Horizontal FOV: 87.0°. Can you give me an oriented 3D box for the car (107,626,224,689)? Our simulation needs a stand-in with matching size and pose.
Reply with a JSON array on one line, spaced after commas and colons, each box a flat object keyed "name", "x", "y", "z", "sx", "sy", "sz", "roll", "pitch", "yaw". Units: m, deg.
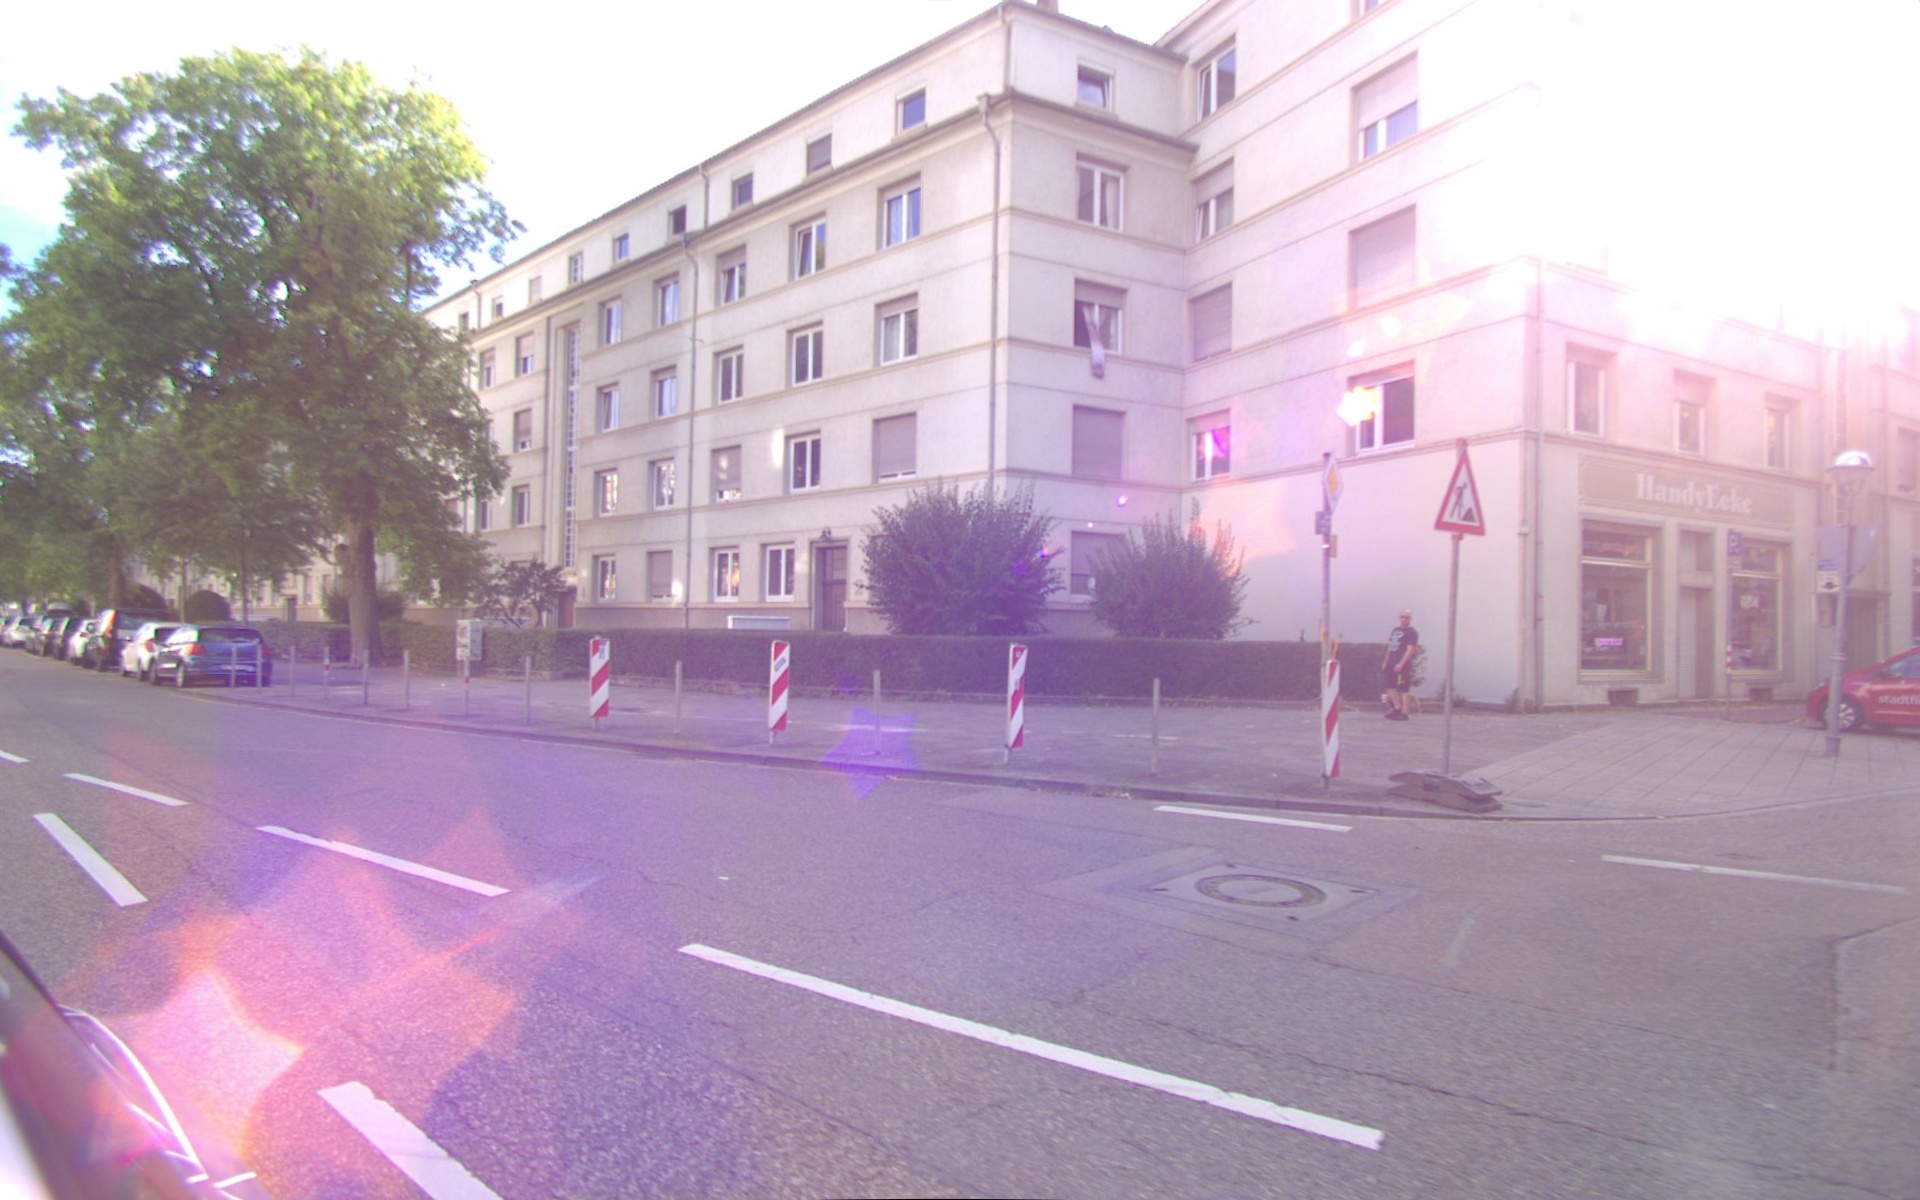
[{"name": "car", "x": -20.731, "y": 1.471, "z": 26.367, "sx": 3.803, "sy": 1.505, "sz": 1.779, "roll": -2, "pitch": -5, "yaw": 43}]

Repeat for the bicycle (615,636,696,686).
[{"name": "bicycle", "x": -7.246, "y": 1.436, "z": 24.158, "sx": 0.597, "sy": 1.140, "sz": 1.849, "roll": -1, "pitch": -2, "yaw": 39}]

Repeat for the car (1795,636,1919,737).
[{"name": "car", "x": 15.133, "y": 1.296, "z": 15.150, "sx": 1.568, "sy": 1.489, "sz": 3.718, "roll": 1, "pitch": -2, "yaw": -27}]

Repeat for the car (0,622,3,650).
[{"name": "car", "x": -64.465, "y": 2.282, "z": 66.400, "sx": 4.968, "sy": 1.807, "sz": 1.857, "roll": -1, "pitch": -5, "yaw": 42}]

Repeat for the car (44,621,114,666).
[{"name": "car", "x": -31.801, "y": 1.567, "z": 36.503, "sx": 3.017, "sy": 1.532, "sz": 1.535, "roll": -2, "pitch": -5, "yaw": 44}]

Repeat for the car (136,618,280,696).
[{"name": "car", "x": -17.255, "y": 1.281, "z": 23.176, "sx": 3.801, "sy": 1.632, "sz": 1.780, "roll": -1, "pitch": -5, "yaw": 41}]

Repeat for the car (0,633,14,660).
[{"name": "car", "x": -56.651, "y": 2.673, "z": 59.215, "sx": 1.666, "sy": 1.492, "sz": 4.454, "roll": 7, "pitch": -6, "yaw": -44}]

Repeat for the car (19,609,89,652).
[{"name": "car", "x": -38.618, "y": 1.297, "z": 43.110, "sx": 4.483, "sy": 1.681, "sz": 1.779, "roll": -2, "pitch": -5, "yaw": 44}]

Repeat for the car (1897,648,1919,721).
[{"name": "car", "x": 19.361, "y": 1.562, "z": 17.926, "sx": 1.568, "sy": 1.377, "sz": 3.718, "roll": 1, "pitch": -2, "yaw": -24}]

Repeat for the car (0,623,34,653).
[{"name": "car", "x": -48.728, "y": 1.922, "z": 51.785, "sx": 4.013, "sy": 1.479, "sz": 1.597, "roll": -1, "pitch": -3, "yaw": 42}]

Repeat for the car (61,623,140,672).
[{"name": "car", "x": -28.543, "y": 1.569, "z": 33.564, "sx": 1.674, "sy": 1.504, "sz": 4.335, "roll": 4, "pitch": -4, "yaw": -44}]

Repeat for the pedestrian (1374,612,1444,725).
[{"name": "pedestrian", "x": 6.487, "y": 0.978, "z": 14.661, "sx": 0.724, "sy": 1.590, "sz": 0.732, "roll": 0, "pitch": -2, "yaw": 7}]

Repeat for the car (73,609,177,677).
[{"name": "car", "x": -24.803, "y": 1.273, "z": 30.020, "sx": 4.191, "sy": 1.897, "sz": 1.704, "roll": -1, "pitch": -4, "yaw": 42}]

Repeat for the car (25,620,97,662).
[{"name": "car", "x": -34.759, "y": 1.572, "z": 39.089, "sx": 3.848, "sy": 1.498, "sz": 1.681, "roll": -2, "pitch": -5, "yaw": 44}]

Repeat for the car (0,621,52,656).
[{"name": "car", "x": -45.354, "y": 1.838, "z": 48.887, "sx": 3.992, "sy": 1.632, "sz": 1.720, "roll": -1, "pitch": -2, "yaw": 41}]
